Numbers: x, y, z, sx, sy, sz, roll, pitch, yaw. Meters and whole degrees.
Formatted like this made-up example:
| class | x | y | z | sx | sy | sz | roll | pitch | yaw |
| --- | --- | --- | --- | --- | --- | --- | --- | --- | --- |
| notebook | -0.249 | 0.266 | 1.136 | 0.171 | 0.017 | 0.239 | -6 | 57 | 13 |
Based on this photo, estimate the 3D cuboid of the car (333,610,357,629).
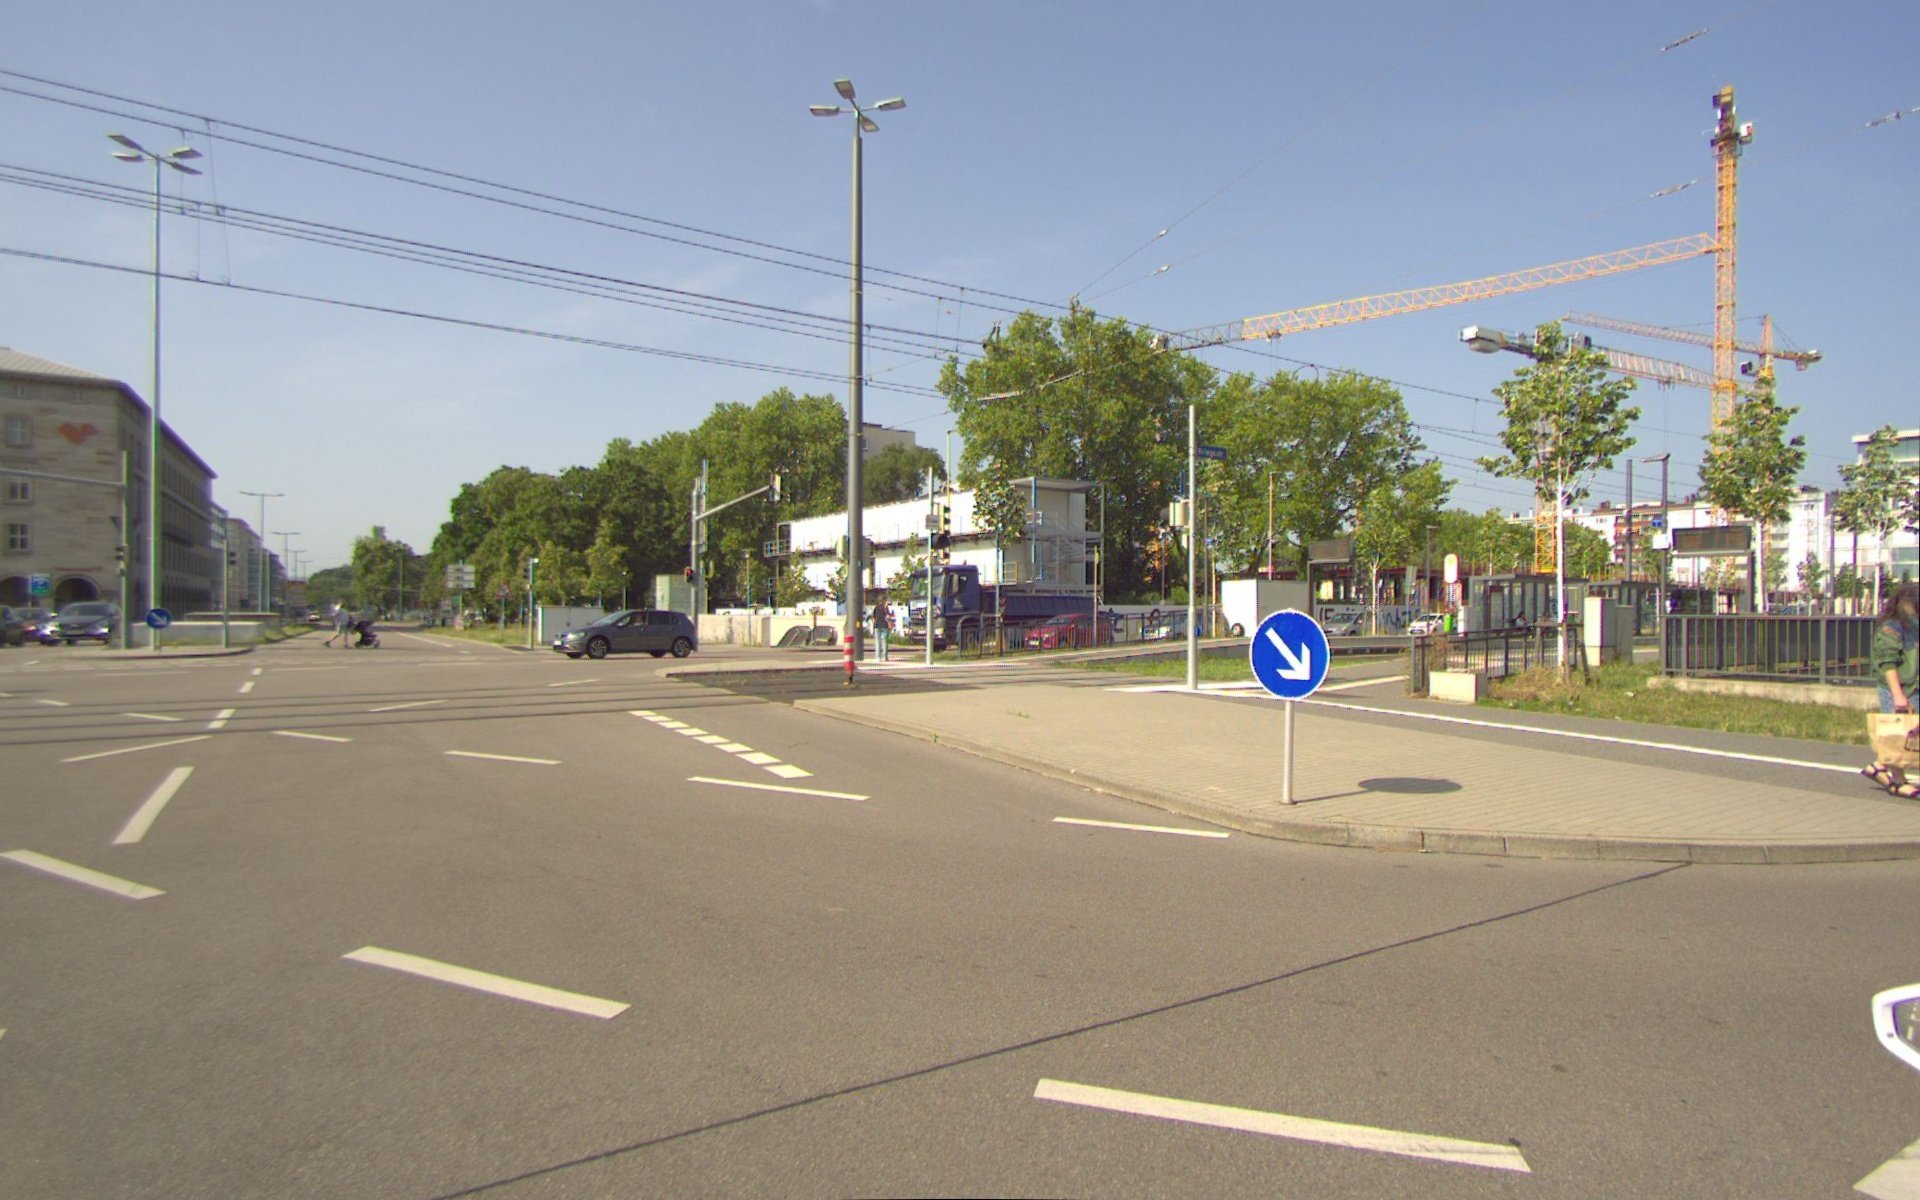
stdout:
| class | x | y | z | sx | sy | sz | roll | pitch | yaw |
| --- | --- | --- | --- | --- | --- | --- | --- | --- | --- |
| car | -59.270 | 1.859 | 96.787 | 1.867 | 1.741 | 3.965 | 1 | -1 | -32 |

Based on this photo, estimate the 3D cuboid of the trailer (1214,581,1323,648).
| class | x | y | z | sx | sy | sz | roll | pitch | yaw |
| --- | --- | --- | --- | --- | --- | --- | --- | --- | --- |
| trailer | 13.759 | 0.659 | 44.735 | 4.975 | 2.818 | 2.030 | 1 | 1 | -37 |

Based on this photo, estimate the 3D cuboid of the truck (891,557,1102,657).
| class | x | y | z | sx | sy | sz | roll | pitch | yaw |
| --- | --- | --- | --- | --- | --- | --- | --- | --- | --- |
| truck | 1.659 | 0.304 | 40.558 | 8.816 | 3.634 | 2.996 | 1 | 0 | -40 |

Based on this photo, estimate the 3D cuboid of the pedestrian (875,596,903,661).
| class | x | y | z | sx | sy | sz | roll | pitch | yaw |
| --- | --- | --- | --- | --- | --- | --- | --- | --- | --- |
| pedestrian | -1.866 | 0.744 | 26.309 | 0.630 | 1.698 | 0.370 | 1 | 0 | -20 |

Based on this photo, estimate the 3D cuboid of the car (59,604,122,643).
| class | x | y | z | sx | sy | sz | roll | pitch | yaw |
| --- | --- | --- | --- | --- | --- | --- | --- | --- | --- |
| car | -33.296 | 0.879 | 38.521 | 1.555 | 1.439 | 3.307 | 1 | 0 | -36 |

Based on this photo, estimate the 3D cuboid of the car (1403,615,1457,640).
| class | x | y | z | sx | sy | sz | roll | pitch | yaw |
| --- | --- | --- | --- | --- | --- | --- | --- | --- | --- |
| car | 29.010 | 1.700 | 61.975 | 3.400 | 1.483 | 1.585 | 1 | -1 | -36 |

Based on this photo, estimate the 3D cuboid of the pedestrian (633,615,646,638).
| class | x | y | z | sx | sy | sz | roll | pitch | yaw |
| --- | --- | --- | --- | --- | --- | --- | --- | --- | --- |
| pedestrian | -17.245 | 1.418 | 53.987 | 0.532 | 1.233 | 0.440 | 1 | 1 | -34 |

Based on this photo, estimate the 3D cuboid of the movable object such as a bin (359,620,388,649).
| class | x | y | z | sx | sy | sz | roll | pitch | yaw |
| --- | --- | --- | --- | --- | --- | --- | --- | --- | --- |
| movable object such as a bin | -21.498 | 1.267 | 36.819 | 0.898 | 1.027 | 0.560 | 1 | 0 | -32 |

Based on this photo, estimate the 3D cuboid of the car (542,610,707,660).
| class | x | y | z | sx | sy | sz | roll | pitch | yaw |
| --- | --- | --- | --- | --- | --- | --- | --- | --- | --- |
| car | -9.846 | 0.979 | 29.734 | 4.392 | 1.365 | 1.581 | 1 | 0 | -43 |

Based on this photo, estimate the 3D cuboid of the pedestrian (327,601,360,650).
| class | x | y | z | sx | sy | sz | roll | pitch | yaw |
| --- | --- | --- | --- | --- | --- | --- | --- | --- | --- |
| pedestrian | -22.278 | 0.906 | 36.316 | 0.995 | 1.757 | 0.557 | 1 | 0 | -32 |

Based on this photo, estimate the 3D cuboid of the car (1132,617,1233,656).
| class | x | y | z | sx | sy | sz | roll | pitch | yaw |
| --- | --- | --- | --- | --- | --- | --- | --- | --- | --- |
| car | 9.098 | 1.436 | 40.974 | 4.363 | 1.489 | 1.631 | 1 | 0 | -38 |

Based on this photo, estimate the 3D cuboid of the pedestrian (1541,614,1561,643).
| class | x | y | z | sx | sy | sz | roll | pitch | yaw |
| --- | --- | --- | --- | --- | --- | --- | --- | --- | --- |
| pedestrian | 27.447 | 1.328 | 46.647 | 0.587 | 1.317 | 0.675 | 0 | 0 | -39 |

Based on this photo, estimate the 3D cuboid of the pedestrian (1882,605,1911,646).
| class | x | y | z | sx | sy | sz | roll | pitch | yaw |
| --- | --- | --- | --- | --- | --- | --- | --- | --- | --- |
| pedestrian | 37.936 | 1.024 | 40.679 | 0.704 | 1.640 | 0.730 | 1 | 0 | -36 |

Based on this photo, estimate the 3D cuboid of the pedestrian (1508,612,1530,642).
| class | x | y | z | sx | sy | sz | roll | pitch | yaw |
| --- | --- | --- | --- | --- | --- | --- | --- | --- | --- |
| pedestrian | 24.991 | 1.187 | 44.907 | 0.587 | 1.317 | 0.675 | 0 | 0 | -39 |

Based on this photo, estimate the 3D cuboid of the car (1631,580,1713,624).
| class | x | y | z | sx | sy | sz | roll | pitch | yaw |
| --- | --- | --- | --- | --- | --- | --- | --- | --- | --- |
| car | 60.819 | 0.218 | 85.678 | 9.147 | 3.560 | 3.032 | 1 | 0 | -37 |

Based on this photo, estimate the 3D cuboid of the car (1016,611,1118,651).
| class | x | y | z | sx | sy | sz | roll | pitch | yaw |
| --- | --- | --- | --- | --- | --- | --- | --- | --- | --- |
| car | 3.993 | 1.129 | 37.337 | 3.668 | 1.379 | 1.706 | 1 | 0 | -40 |

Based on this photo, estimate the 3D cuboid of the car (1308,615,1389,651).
| class | x | y | z | sx | sy | sz | roll | pitch | yaw |
| --- | --- | --- | --- | --- | --- | --- | --- | --- | --- |
| car | 18.883 | 1.580 | 48.761 | 4.110 | 1.684 | 1.709 | 1 | 0 | -36 |

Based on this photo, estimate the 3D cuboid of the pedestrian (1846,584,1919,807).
| class | x | y | z | sx | sy | sz | roll | pitch | yaw |
| --- | --- | --- | --- | --- | --- | --- | --- | --- | --- |
| pedestrian | 7.412 | 0.722 | 7.924 | 0.770 | 1.672 | 0.464 | 1 | 0 | -36 |

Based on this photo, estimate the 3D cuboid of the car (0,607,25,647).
| class | x | y | z | sx | sy | sz | roll | pitch | yaw |
| --- | --- | --- | --- | --- | --- | --- | --- | --- | --- |
| car | -35.850 | 0.977 | 36.962 | 1.694 | 1.399 | 3.616 | 1 | -1 | -36 |
